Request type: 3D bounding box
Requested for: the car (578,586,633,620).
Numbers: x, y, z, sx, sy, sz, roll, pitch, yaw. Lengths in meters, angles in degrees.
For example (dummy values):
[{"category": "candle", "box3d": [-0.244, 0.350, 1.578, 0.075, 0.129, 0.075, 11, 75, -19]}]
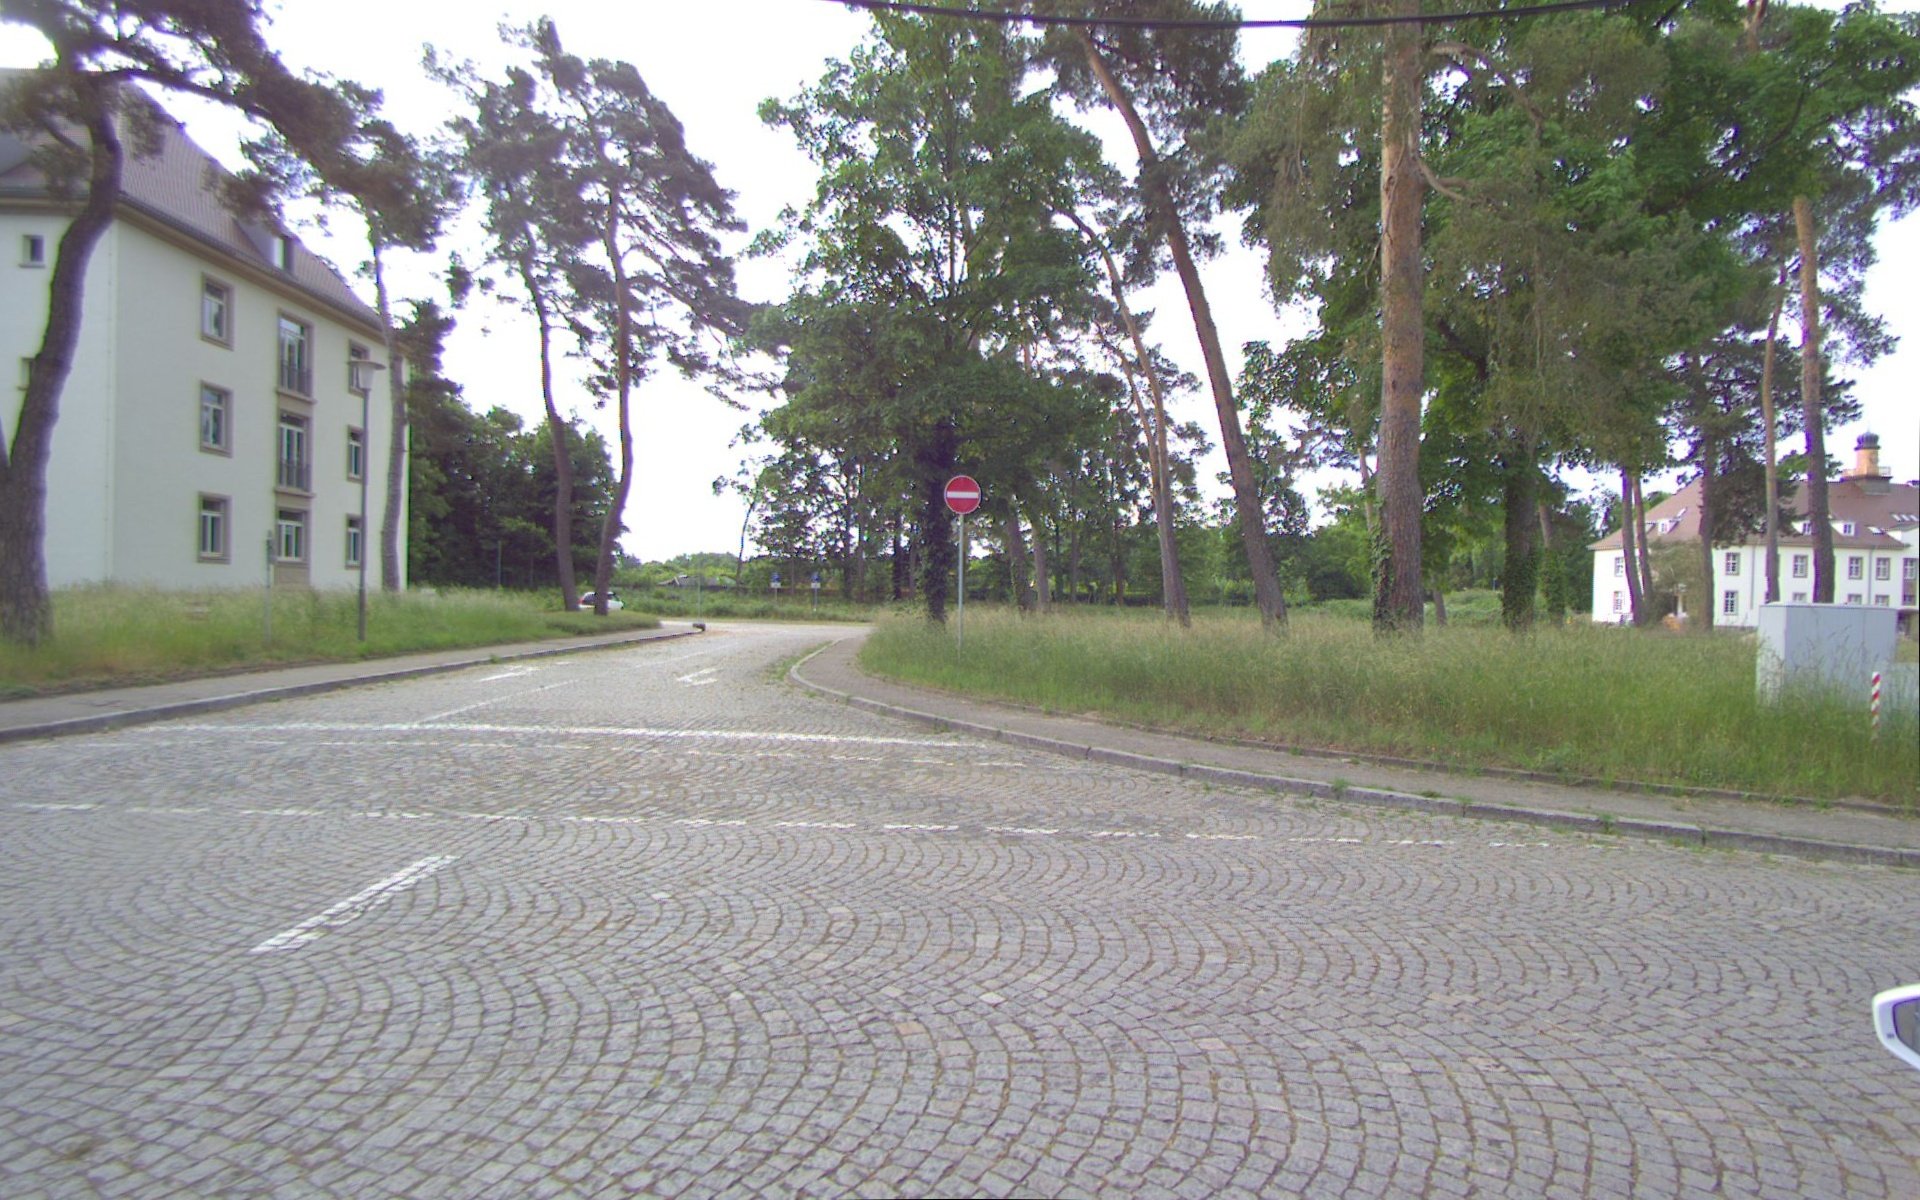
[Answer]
[{"category": "car", "box3d": [-20.379, 0.176, 57.952, 1.688, 1.831, 4.000, 1, 0, 0]}]
